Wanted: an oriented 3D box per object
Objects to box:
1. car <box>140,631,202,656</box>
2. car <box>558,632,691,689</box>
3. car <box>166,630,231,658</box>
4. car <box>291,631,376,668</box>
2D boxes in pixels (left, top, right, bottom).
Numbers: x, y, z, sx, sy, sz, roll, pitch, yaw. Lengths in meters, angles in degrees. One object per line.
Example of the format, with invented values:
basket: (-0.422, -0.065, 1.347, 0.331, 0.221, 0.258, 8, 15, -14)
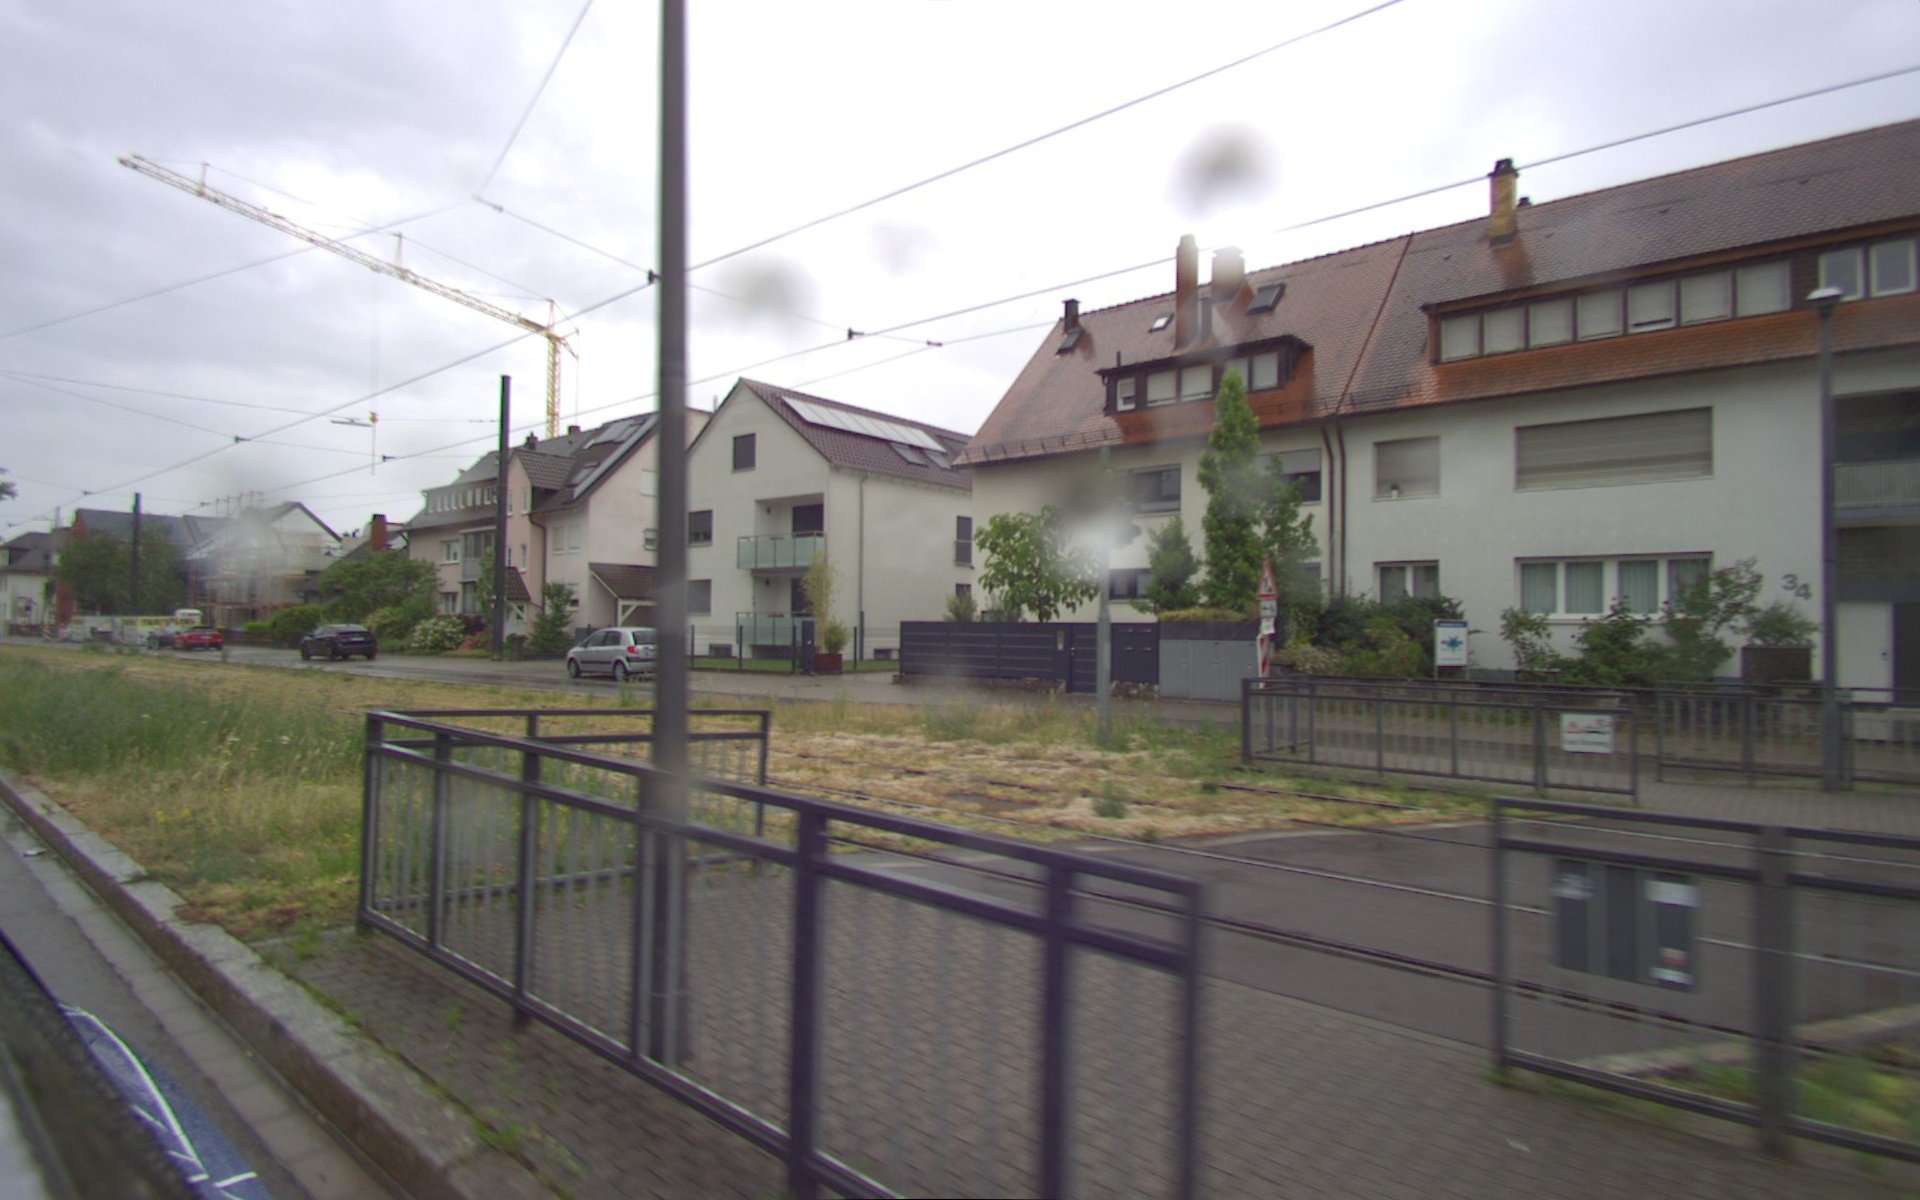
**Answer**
car: (-46.552, 2.556, 59.661, 4.169, 1.420, 1.974, -3, -2, 39)
car: (-9.722, 1.698, 29.268, 3.654, 1.424, 1.974, 0, -1, 39)
car: (-42.507, 2.435, 56.476, 3.839, 1.383, 1.974, 0, -1, 39)
car: (-26.600, 2.071, 42.927, 4.169, 1.437, 1.819, -2, -2, 39)
